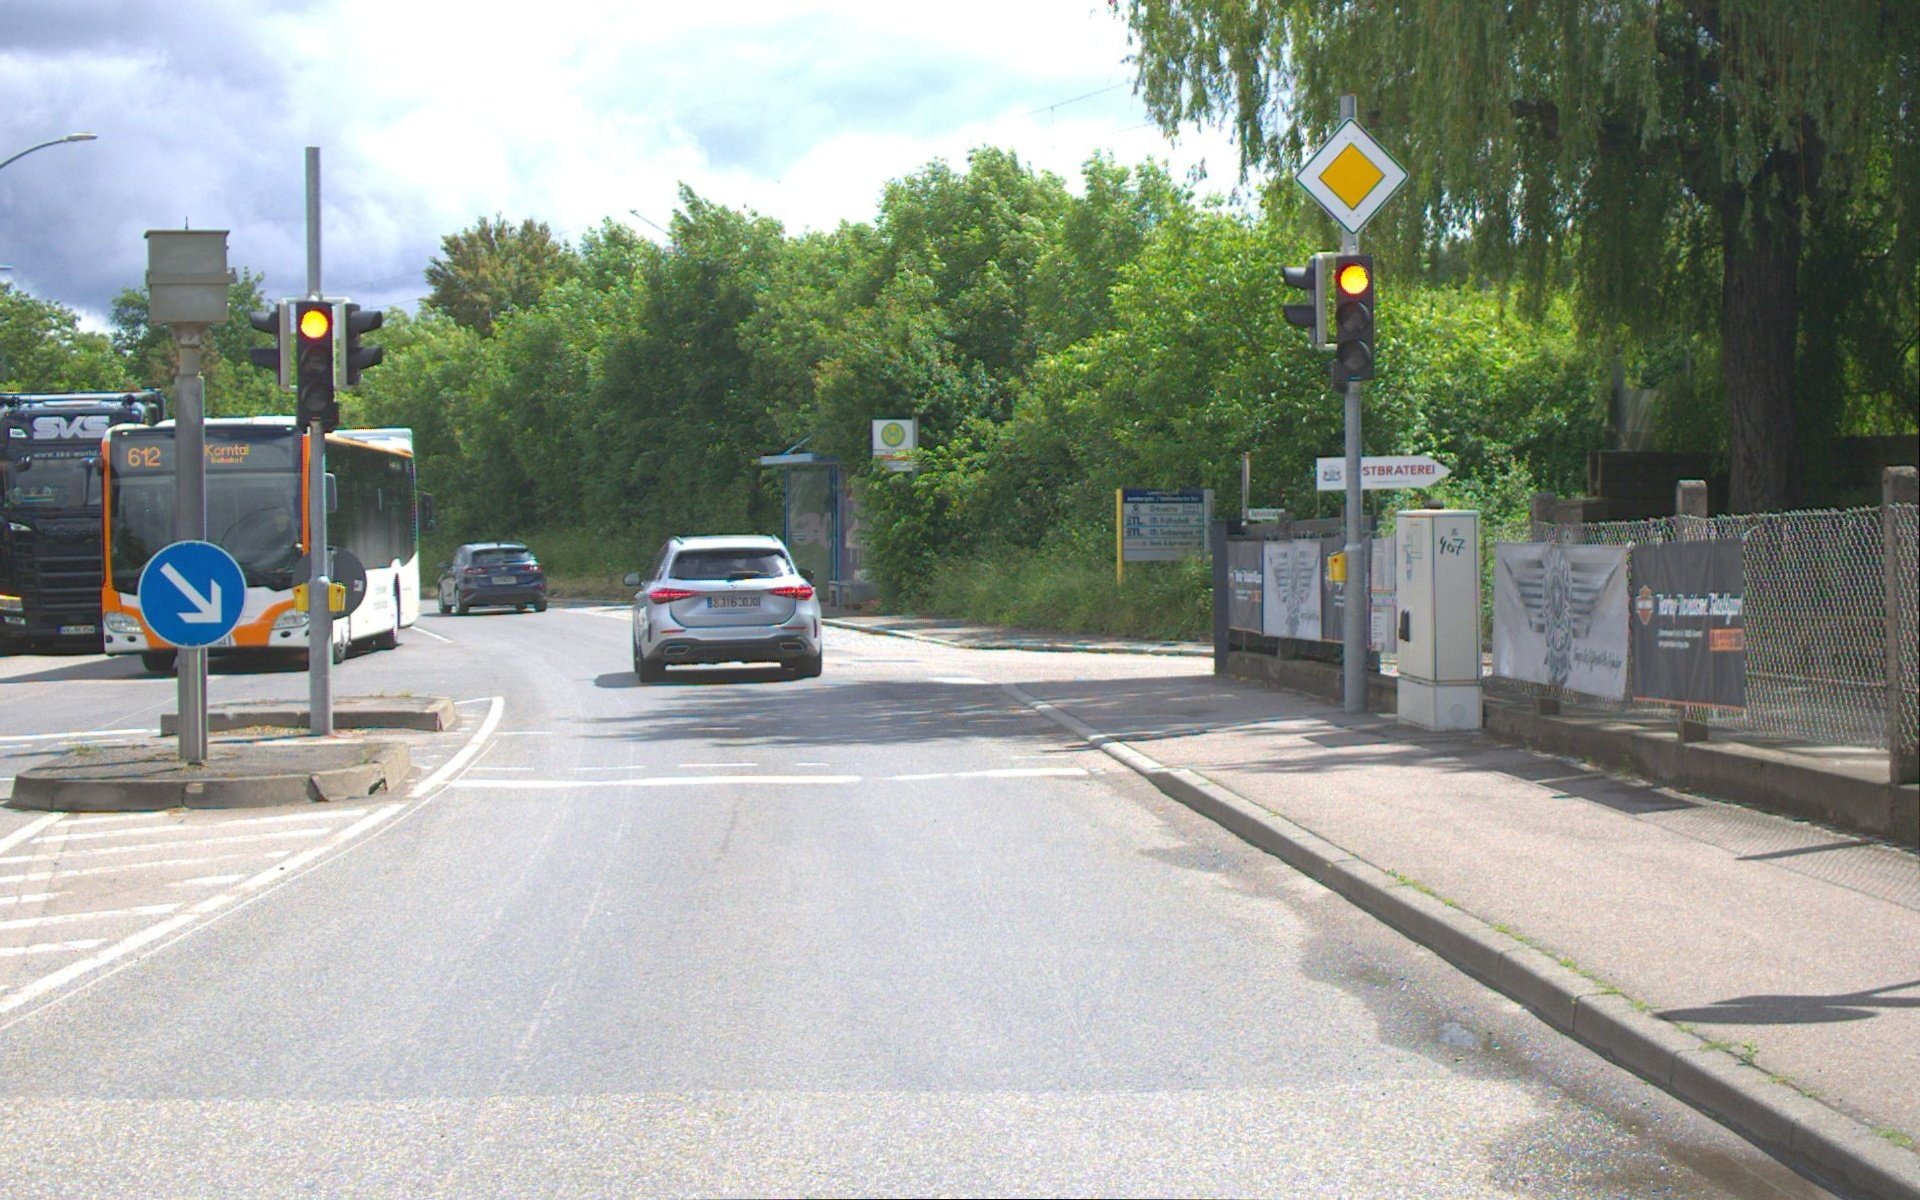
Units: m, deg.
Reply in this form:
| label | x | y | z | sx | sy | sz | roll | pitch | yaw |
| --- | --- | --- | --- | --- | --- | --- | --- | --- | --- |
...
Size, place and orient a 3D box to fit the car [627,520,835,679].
| label | x | y | z | sx | sy | sz | roll | pitch | yaw |
| --- | --- | --- | --- | --- | --- | --- | --- | --- | --- |
| car | -2.394 | -0.044 | 35.155 | 1.884 | 1.503 | 4.001 | -1 | 1 | -7 |

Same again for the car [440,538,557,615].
| label | x | y | z | sx | sy | sz | roll | pitch | yaw |
| --- | --- | --- | --- | --- | --- | --- | --- | --- | --- |
| car | -9.428 | -0.505 | 70.060 | 1.884 | 1.503 | 4.001 | 0 | 1 | -15 |

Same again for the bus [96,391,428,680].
| label | x | y | z | sx | sy | sz | roll | pitch | yaw |
| --- | --- | --- | --- | --- | --- | --- | --- | --- | --- |
| bus | -8.978 | -0.856 | 45.668 | 2.777 | 3.255 | 12.126 | -2 | 1 | -4 |

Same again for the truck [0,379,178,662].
| label | x | y | z | sx | sy | sz | roll | pitch | yaw |
| --- | --- | --- | --- | --- | --- | --- | --- | --- | --- |
| truck | -14.101 | -1.229 | 55.256 | 2.428 | 4.117 | 9.153 | 1 | 0 | -10 |

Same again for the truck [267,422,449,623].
| label | x | y | z | sx | sy | sz | roll | pitch | yaw |
| --- | --- | --- | --- | --- | --- | --- | --- | --- | --- |
| truck | -11.643 | -1.461 | 65.870 | 2.839 | 3.528 | 9.727 | -1 | 1 | -13 |
